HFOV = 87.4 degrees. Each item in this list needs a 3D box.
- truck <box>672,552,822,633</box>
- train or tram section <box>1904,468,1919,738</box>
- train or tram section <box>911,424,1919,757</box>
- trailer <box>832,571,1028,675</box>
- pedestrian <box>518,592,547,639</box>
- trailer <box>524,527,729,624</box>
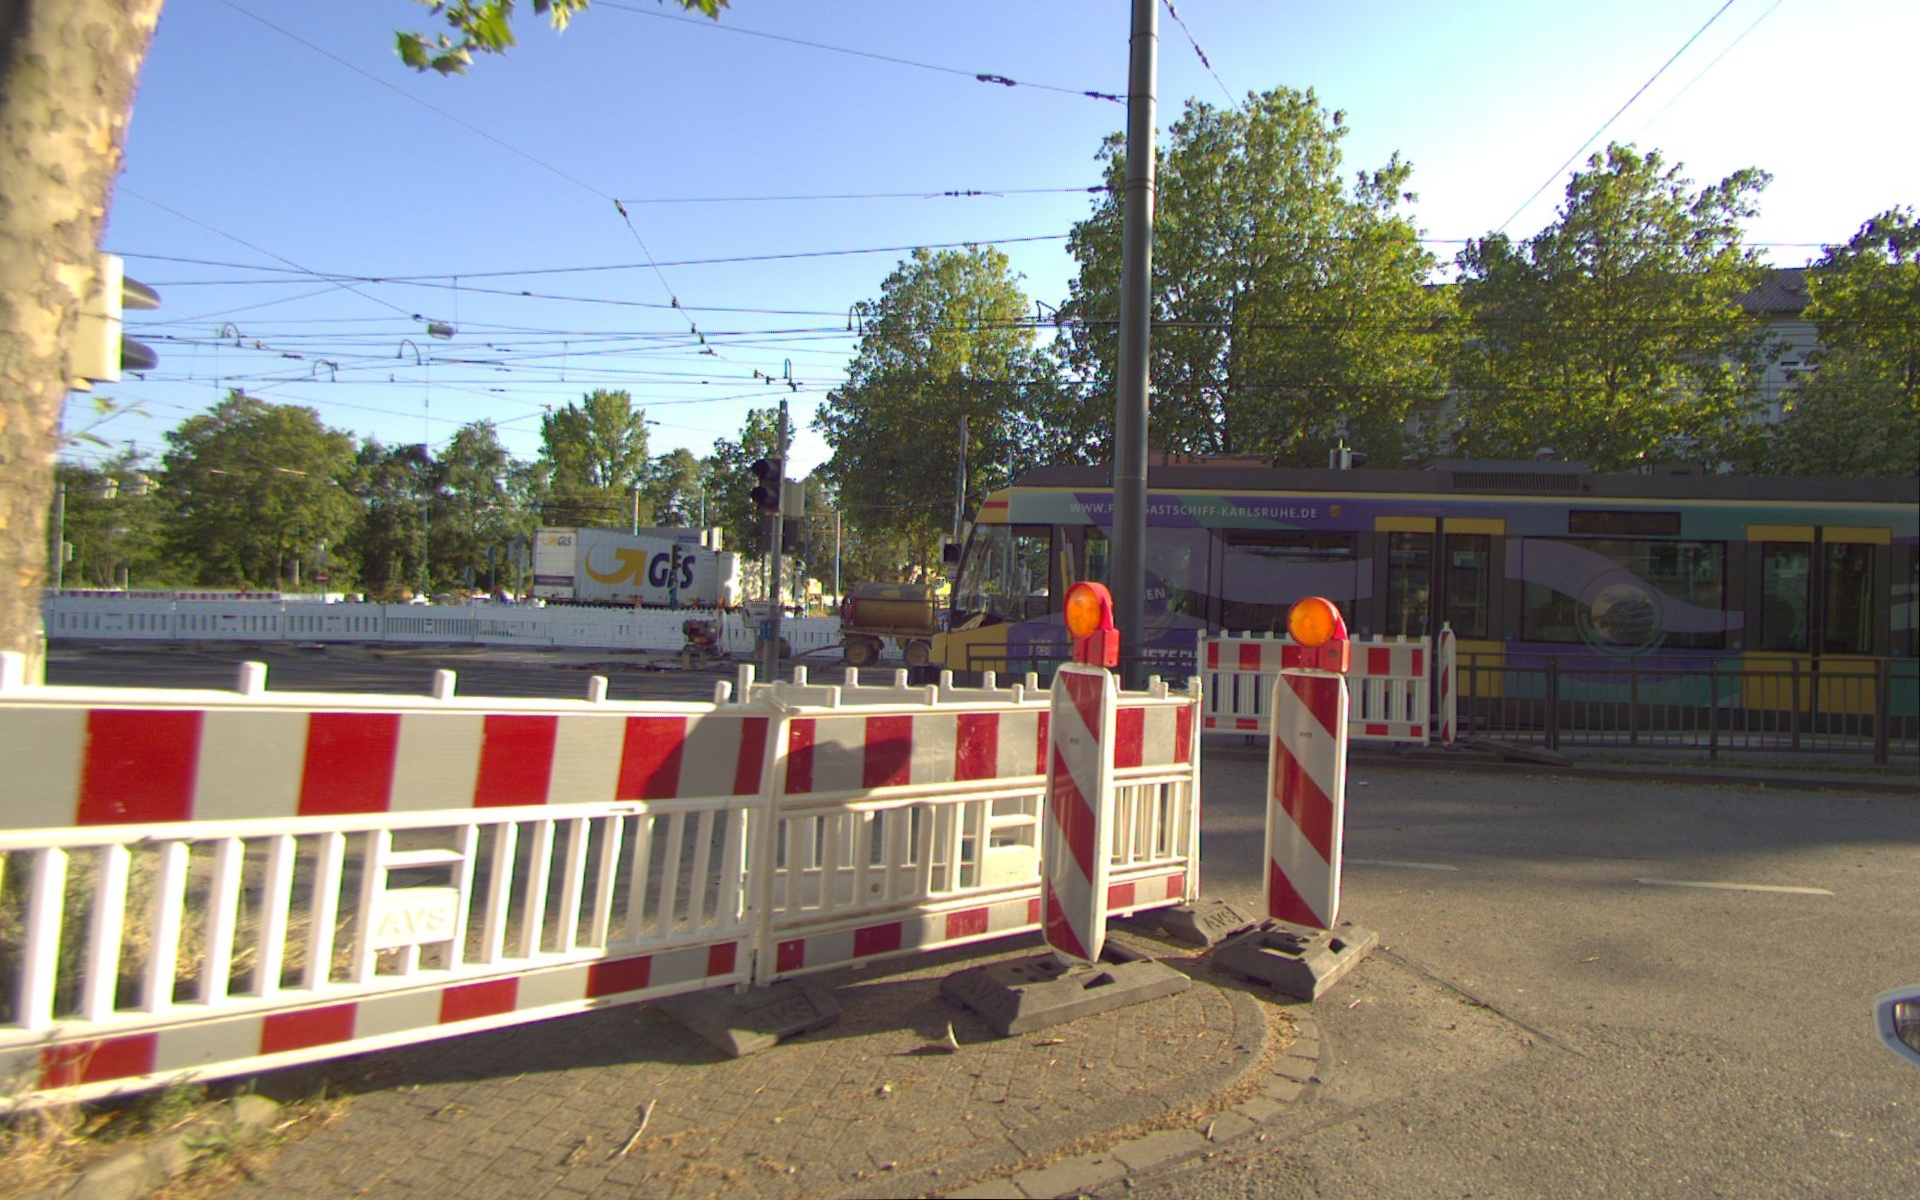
[{"bbox_3d":[-10.991,-0.270,53.473,2.843,3.840,10.436,2,0,18],"label":"truck"},{"bbox_3d":[18.758,0.231,11.207,12.525,3.596,2.739,2,0,9],"label":"train or tram section"},{"bbox_3d":[6.136,-0.212,13.245,13.124,3.580,2.861,2,0,9],"label":"train or tram section"},{"bbox_3d":[-0.637,0.519,23.126,4.260,2.143,2.000,2,0,2],"label":"trailer"},{"bbox_3d":[-14.676,0.533,34.471,0.565,1.535,0.592,5,1,29],"label":"pedestrian"},{"bbox_3d":[-14.462,-0.931,44.593,2.842,3.848,9.236,2,0,27],"label":"trailer"}]
